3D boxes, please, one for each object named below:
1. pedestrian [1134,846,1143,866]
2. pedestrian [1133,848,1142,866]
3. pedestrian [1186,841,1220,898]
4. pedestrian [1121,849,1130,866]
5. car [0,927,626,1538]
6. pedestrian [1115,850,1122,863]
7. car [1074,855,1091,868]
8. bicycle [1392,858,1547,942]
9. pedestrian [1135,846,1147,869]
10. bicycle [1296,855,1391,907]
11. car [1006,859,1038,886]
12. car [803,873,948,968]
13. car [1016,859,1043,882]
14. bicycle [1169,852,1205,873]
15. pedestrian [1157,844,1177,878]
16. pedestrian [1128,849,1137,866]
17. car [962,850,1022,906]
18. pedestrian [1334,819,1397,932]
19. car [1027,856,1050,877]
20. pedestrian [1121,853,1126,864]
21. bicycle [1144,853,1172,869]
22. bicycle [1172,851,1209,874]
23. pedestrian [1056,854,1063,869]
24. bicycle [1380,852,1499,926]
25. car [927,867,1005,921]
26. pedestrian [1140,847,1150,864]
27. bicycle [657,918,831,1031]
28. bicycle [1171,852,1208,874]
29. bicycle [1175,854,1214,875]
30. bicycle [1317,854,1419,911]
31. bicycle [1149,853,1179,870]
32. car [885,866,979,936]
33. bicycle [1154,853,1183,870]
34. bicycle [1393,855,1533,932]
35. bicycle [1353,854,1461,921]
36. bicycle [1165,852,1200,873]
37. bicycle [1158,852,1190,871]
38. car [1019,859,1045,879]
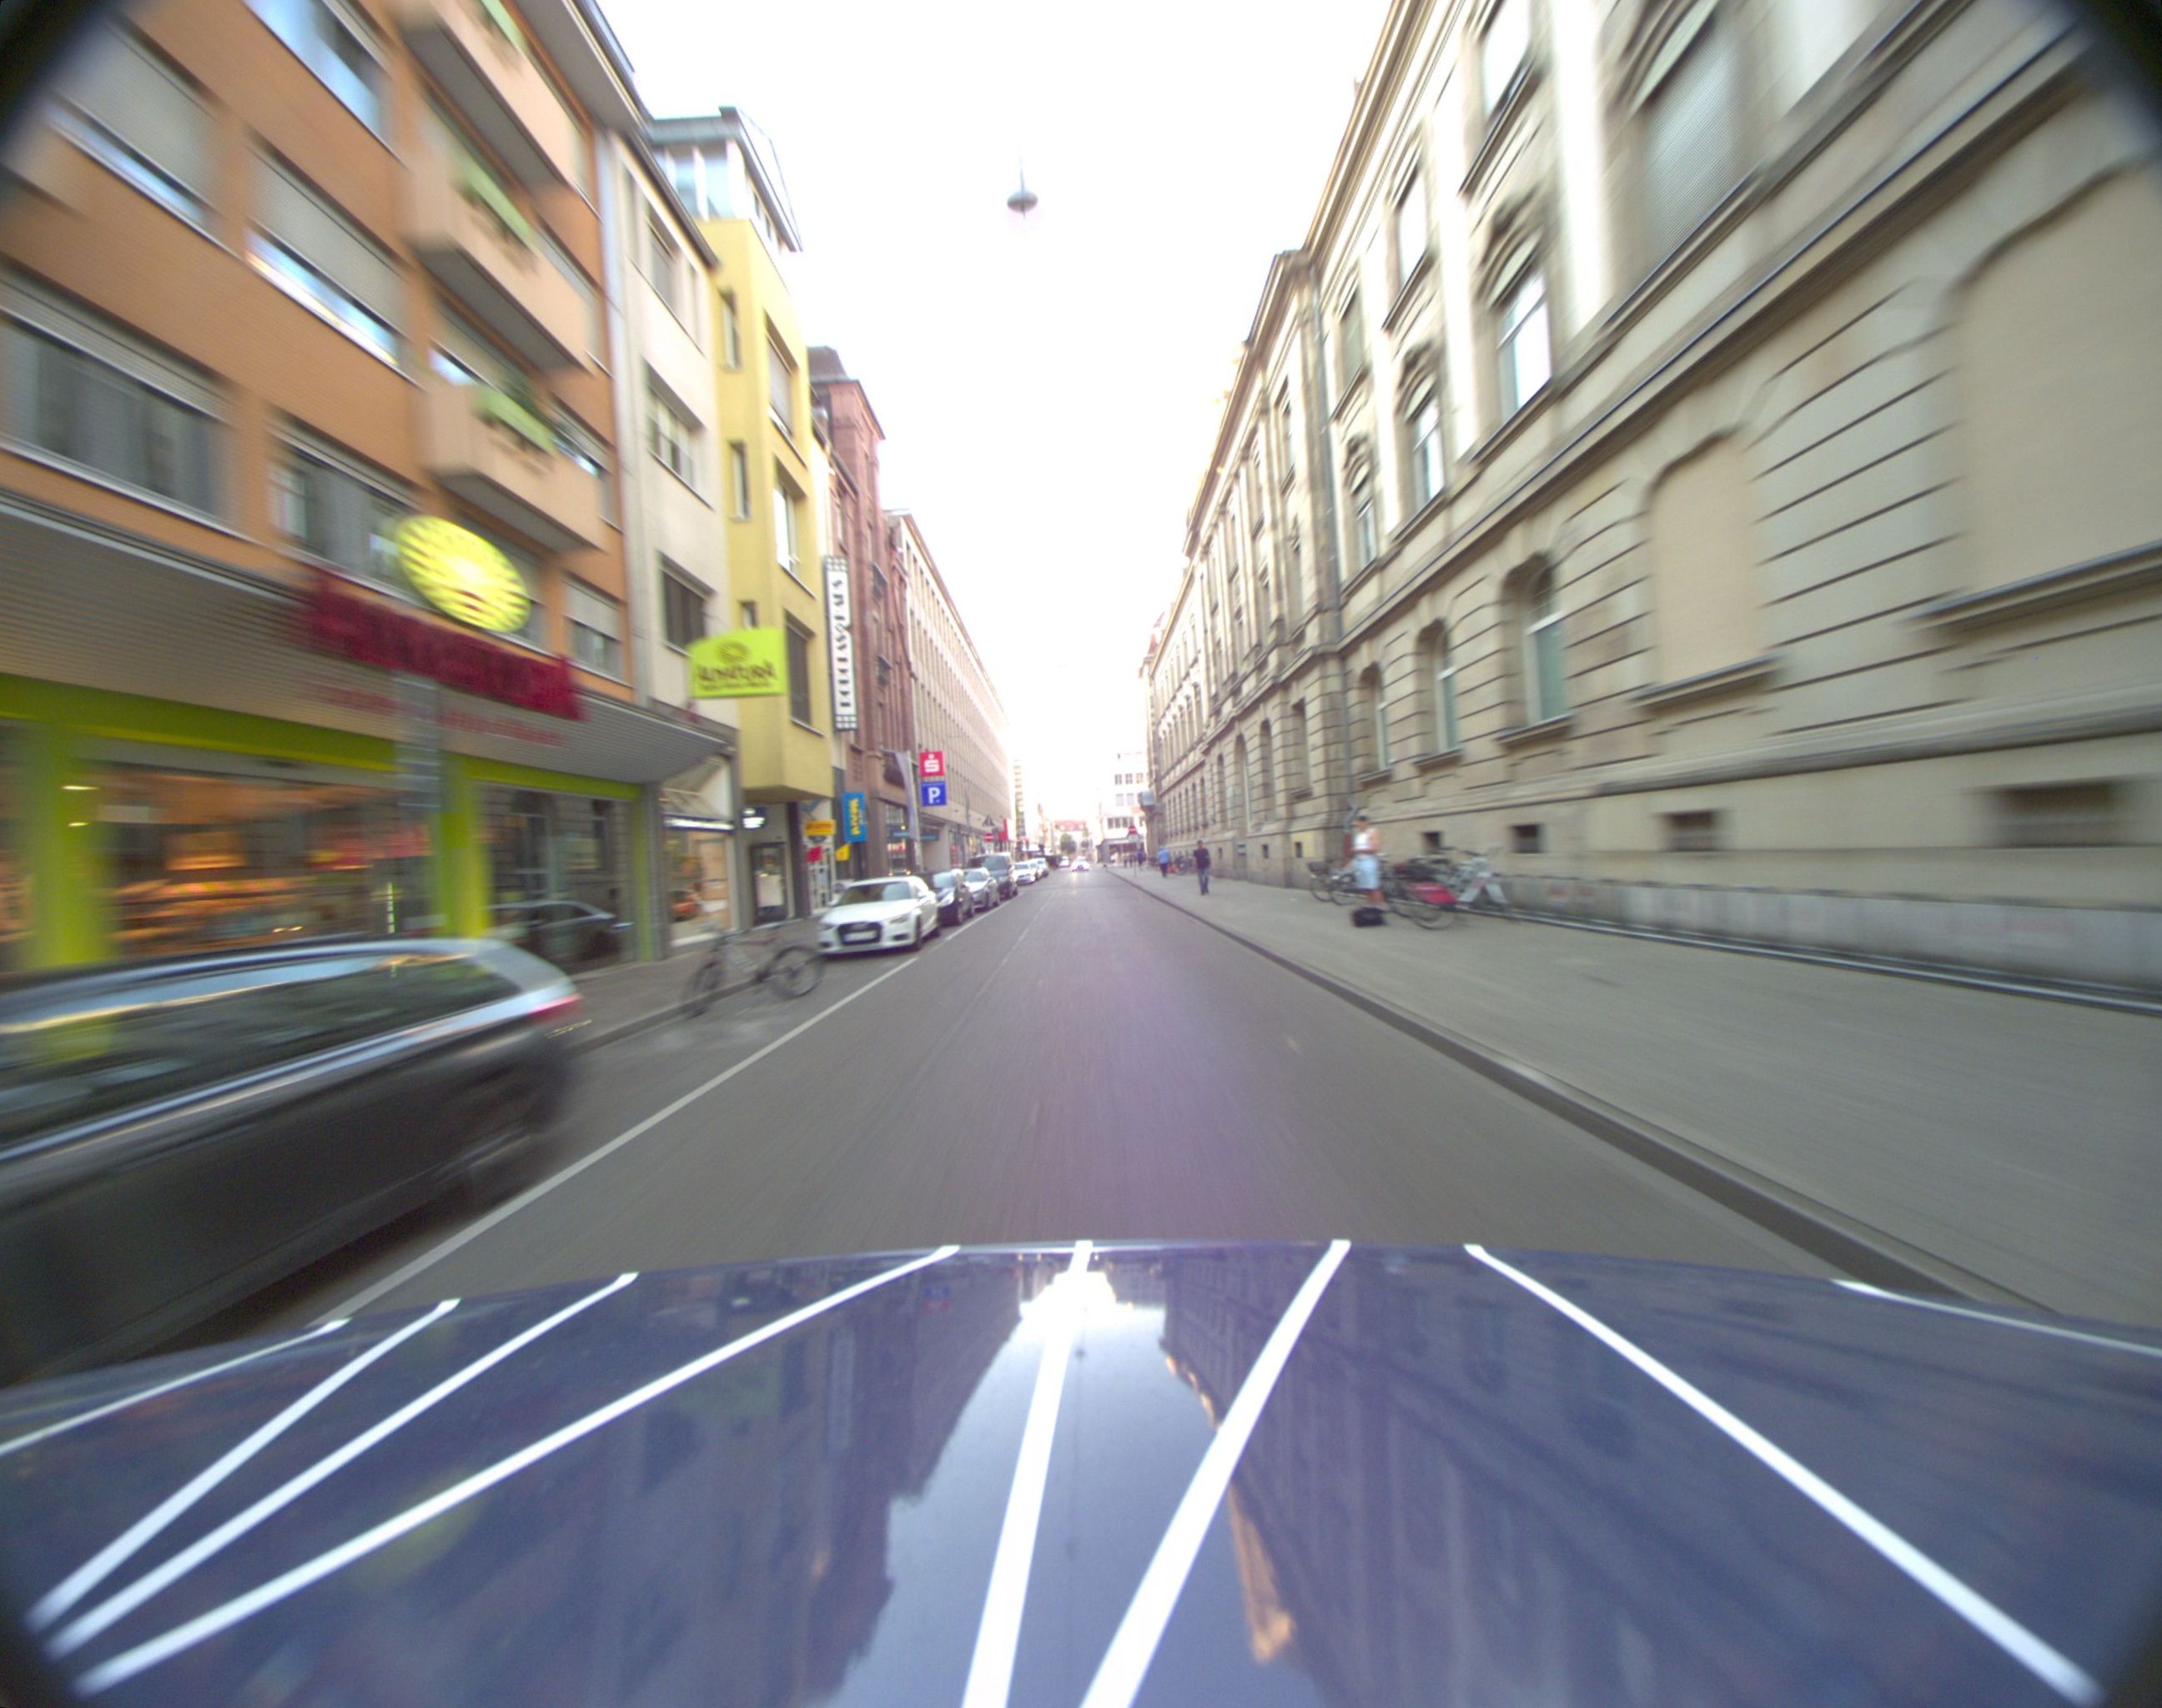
[{"bbox_3d":[5.320,0.193,70.392,0.719,1.770,0.800,-5,1,1],"label":"pedestrian"},{"bbox_3d":[5.911,0.346,79.783,0.718,1.819,0.870,-7,0,7],"label":"pedestrian"},{"bbox_3d":[3.930,0.483,24.542,0.811,1.740,0.969,-5,1,0],"label":"pedestrian"},{"bbox_3d":[4.562,0.344,78.147,0.727,1.732,0.839,-7,0,3],"label":"pedestrian"},{"bbox_3d":[-3.822,1.230,2.421,1.695,1.406,4.757,-6,0,1],"label":"car"},{"bbox_3d":[5.417,0.327,109.182,0.783,1.881,0.642,-3,1,0],"label":"pedestrian"},{"bbox_3d":[0.140,0.839,83.184,1.741,1.407,4.682,-1,0,-1],"label":"car"},{"bbox_3d":[5.754,0.667,11.317,1.942,1.055,0.619,-5,1,-2],"label":"bicycle"},{"bbox_3d":[4.812,0.307,61.150,0.778,1.778,0.820,-4,0,-2],"label":"pedestrian"},{"bbox_3d":[6.138,0.625,17.839,1.942,1.055,0.619,-5,1,-1],"label":"bicycle"},{"bbox_3d":[-3.818,1.170,49.581,1.661,1.439,4.307,-5,0,0],"label":"car"},{"bbox_3d":[-3.906,1.186,15.274,1.696,1.403,4.638,-6,0,-2],"label":"car"},{"bbox_3d":[-3.749,1.153,55.555,1.661,1.439,4.444,-5,0,-1],"label":"car"},{"bbox_3d":[6.280,0.508,45.151,1.943,1.072,0.730,-5,1,-6],"label":"bicycle"},{"bbox_3d":[4.681,0.374,41.410,0.831,1.735,0.769,-6,0,1],"label":"pedestrian"},{"bbox_3d":[5.328,0.351,78.112,0.731,1.658,0.858,-7,0,3],"label":"pedestrian"},{"bbox_3d":[-3.736,0.938,32.646,1.851,2.046,5.053,-5,1,0],"label":"car"},{"bbox_3d":[4.854,0.360,12.994,0.589,1.840,0.754,-5,0,-5],"label":"pedestrian"},{"bbox_3d":[-3.717,1.047,66.585,1.781,1.656,4.812,-5,0,-2],"label":"car"},{"bbox_3d":[6.510,0.677,115.674,0.545,1.698,0.558,-4,0,0],"label":"pedestrian"},{"bbox_3d":[6.181,0.532,61.097,2.024,1.102,0.730,-5,1,-6],"label":"bicycle"},{"bbox_3d":[6.208,0.477,43.113,1.942,1.072,0.748,-5,1,-1],"label":"bicycle"},{"bbox_3d":[-2.522,0.849,88.872,0.687,1.751,0.799,-3,0,-8],"label":"pedestrian"},{"bbox_3d":[6.197,0.593,13.171,1.799,1.101,0.500,-5,1,-5],"label":"bicycle"},{"bbox_3d":[-3.752,1.263,25.559,1.691,1.444,4.498,-6,0,2],"label":"car"},{"bbox_3d":[6.698,0.169,79.680,0.757,1.632,0.749,-7,0,7],"label":"pedestrian"},{"bbox_3d":[-4.050,1.408,9.227,1.740,1.049,0.658,-5,0,-41],"label":"bicycle"},{"bbox_3d":[6.348,0.525,44.380,1.943,1.072,0.730,-5,1,-6],"label":"bicycle"},{"bbox_3d":[6.288,0.571,42.195,1.940,1.040,0.721,-4,0,-4],"label":"bicycle"},{"bbox_3d":[6.251,0.616,16.590,1.943,1.055,0.619,-5,1,-5],"label":"bicycle"},{"bbox_3d":[6.363,0.560,58.223,2.026,1.072,0.729,-5,1,-19],"label":"bicycle"},{"bbox_3d":[-3.888,1.166,20.446,1.622,1.507,4.173,-6,0,-1],"label":"car"},{"bbox_3d":[6.310,0.528,54.791,1.943,1.072,0.730,-5,1,-6],"label":"bicycle"},{"bbox_3d":[6.189,0.626,12.357,1.943,1.055,0.619,-5,1,-5],"label":"bicycle"},{"bbox_3d":[6.152,0.615,14.372,1.799,1.101,0.500,-5,1,-5],"label":"bicycle"},{"bbox_3d":[6.201,0.519,46.467,1.943,1.072,0.730,-5,1,-6],"label":"bicycle"},{"bbox_3d":[6.278,0.489,51.280,1.943,1.072,0.730,-5,1,-6],"label":"bicycle"},{"bbox_3d":[-3.918,1.180,61.103,1.661,1.439,3.869,-5,1,1],"label":"car"}]
